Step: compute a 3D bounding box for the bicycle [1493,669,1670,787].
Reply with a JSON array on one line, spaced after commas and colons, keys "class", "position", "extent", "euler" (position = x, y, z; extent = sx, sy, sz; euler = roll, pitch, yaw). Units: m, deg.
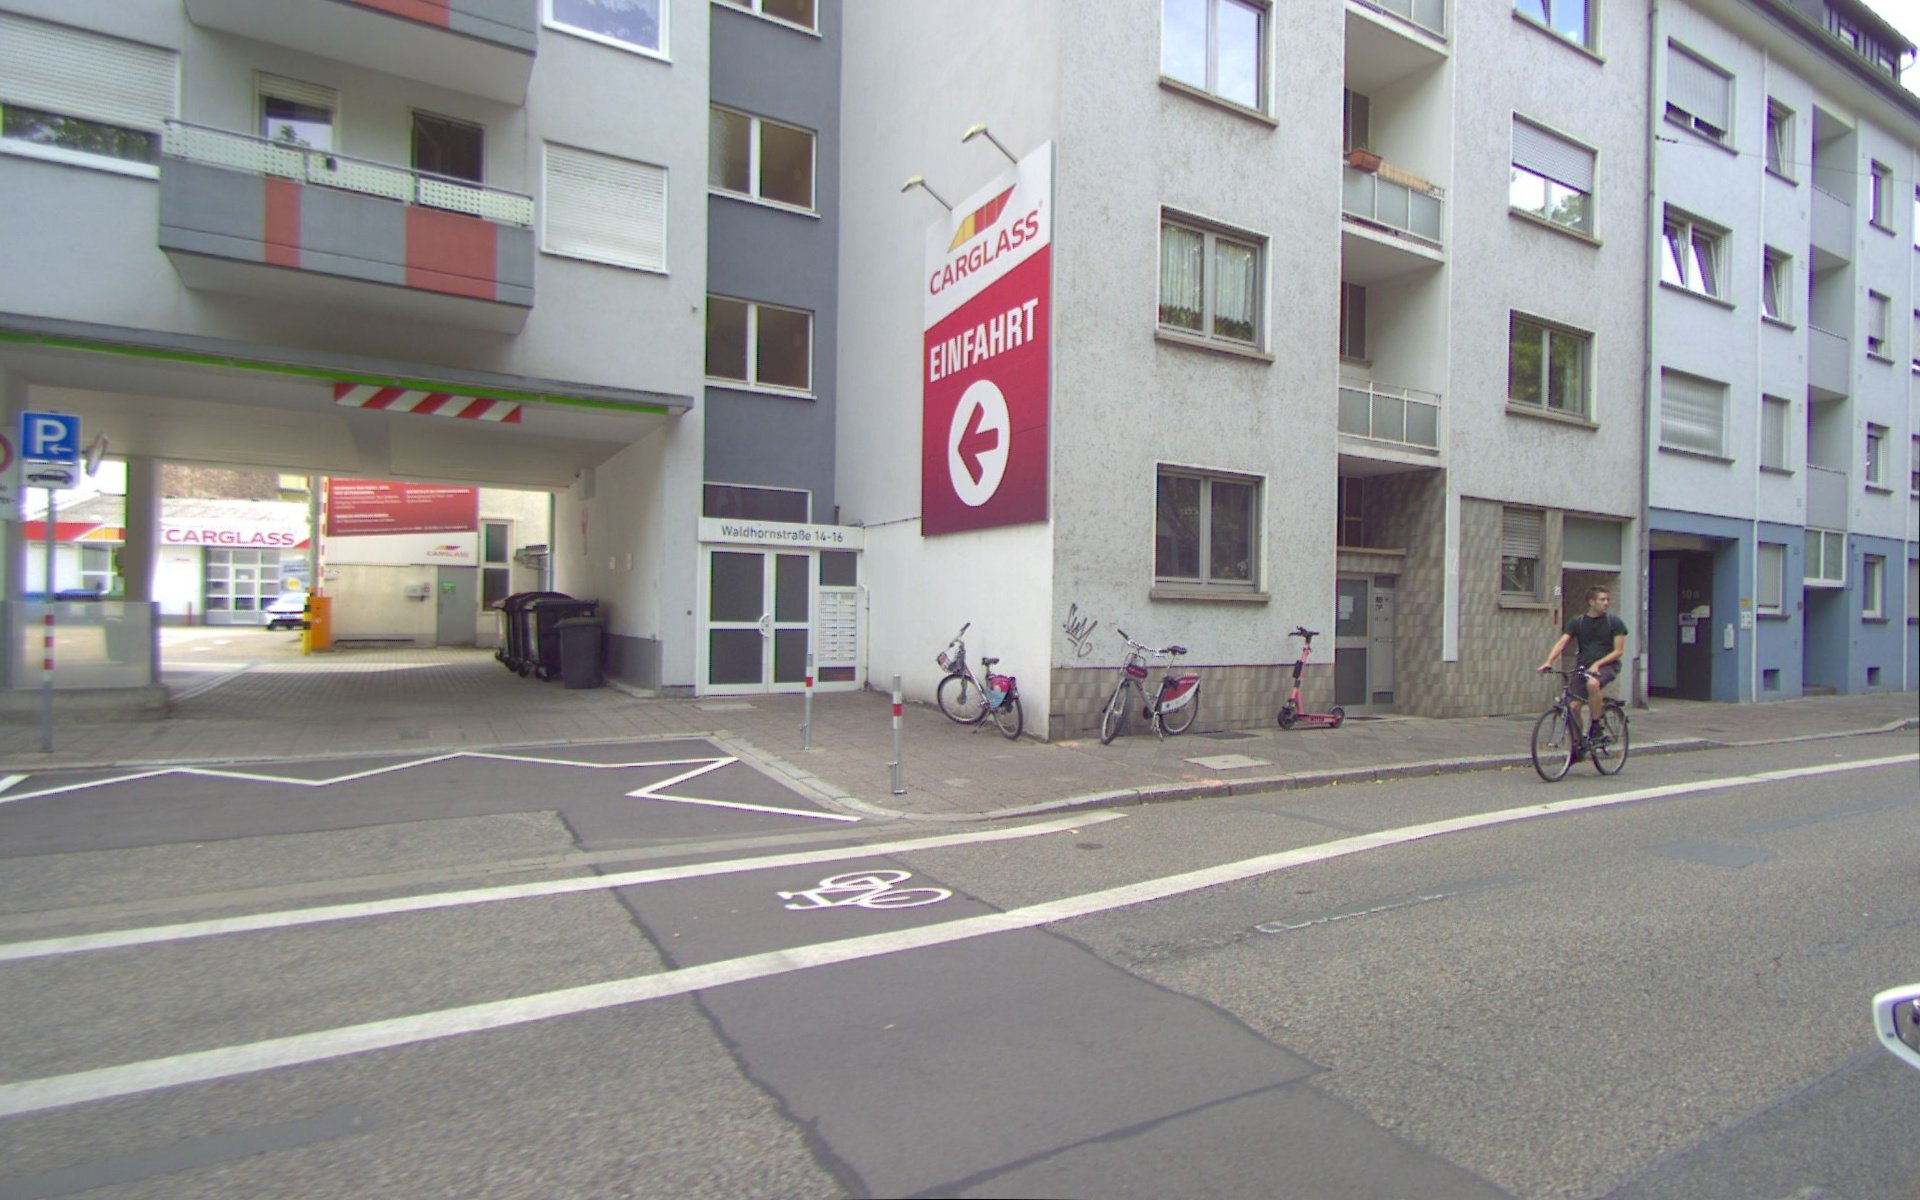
[{"class": "bicycle", "position": [6.272, 1.243, 10.103], "extent": [2.053, 1.028, 0.643], "euler": [1, -1, -31]}]

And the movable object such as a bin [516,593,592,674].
[{"class": "movable object such as a bin", "position": [-7.212, 0.584, 17.843], "extent": [1.162, 1.370, 1.039], "euler": [1, -1, -27]}]

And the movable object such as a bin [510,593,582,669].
[{"class": "movable object such as a bin", "position": [-7.794, 0.571, 18.901], "extent": [1.162, 1.370, 1.039], "euler": [1, -1, -27]}]

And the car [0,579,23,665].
[{"class": "car", "position": [-16.383, 0.298, 14.399], "extent": [3.954, 1.315, 1.898], "euler": [1, -1, -31]}]

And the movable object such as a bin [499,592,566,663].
[{"class": "movable object such as a bin", "position": [-8.604, 0.552, 20.201], "extent": [1.162, 1.370, 1.039], "euler": [1, -1, -27]}]

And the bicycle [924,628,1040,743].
[{"class": "bicycle", "position": [0.213, 0.913, 11.322], "extent": [0.447, 1.132, 1.763], "euler": [1, 0, -29]}]

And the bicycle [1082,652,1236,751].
[{"class": "bicycle", "position": [2.175, 1.066, 10.920], "extent": [1.643, 0.963, 0.594], "euler": [1, 0, -30]}]

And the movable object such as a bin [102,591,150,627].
[{"class": "movable object such as a bin", "position": [-35.059, 0.383, 42.241], "extent": [1.146, 1.462, 1.244], "euler": [1, 0, -19]}]

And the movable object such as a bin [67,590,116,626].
[{"class": "movable object such as a bin", "position": [-36.191, 0.348, 41.886], "extent": [1.146, 1.462, 1.244], "euler": [1, 0, -19]}]

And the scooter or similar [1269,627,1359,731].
[{"class": "scooter or similar", "position": [4.389, 0.959, 12.441], "extent": [1.188, 1.238, 0.348], "euler": [1, 1, -30]}]

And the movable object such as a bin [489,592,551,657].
[{"class": "movable object such as a bin", "position": [-9.532, 0.531, 21.743], "extent": [1.162, 1.370, 1.039], "euler": [1, -1, -27]}]

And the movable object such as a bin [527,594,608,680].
[{"class": "movable object such as a bin", "position": [-6.552, 0.602, 16.737], "extent": [1.162, 1.370, 1.039], "euler": [1, -1, -27]}]

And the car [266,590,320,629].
[{"class": "car", "position": [-26.766, 0.363, 40.312], "extent": [1.715, 1.488, 3.894], "euler": [1, -1, -34]}]

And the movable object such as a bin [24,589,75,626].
[{"class": "movable object such as a bin", "position": [-37.517, 0.308, 41.413], "extent": [1.146, 1.462, 1.244], "euler": [1, 0, -19]}]

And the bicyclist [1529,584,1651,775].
[{"class": "bicyclist", "position": [6.376, 0.782, 10.172], "extent": [1.033, 1.834, 0.649], "euler": [2, -2, -30]}]

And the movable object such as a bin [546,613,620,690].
[{"class": "movable object such as a bin", "position": [-5.784, 0.769, 15.389], "extent": [0.962, 1.121, 0.941], "euler": [1, -1, -27]}]
